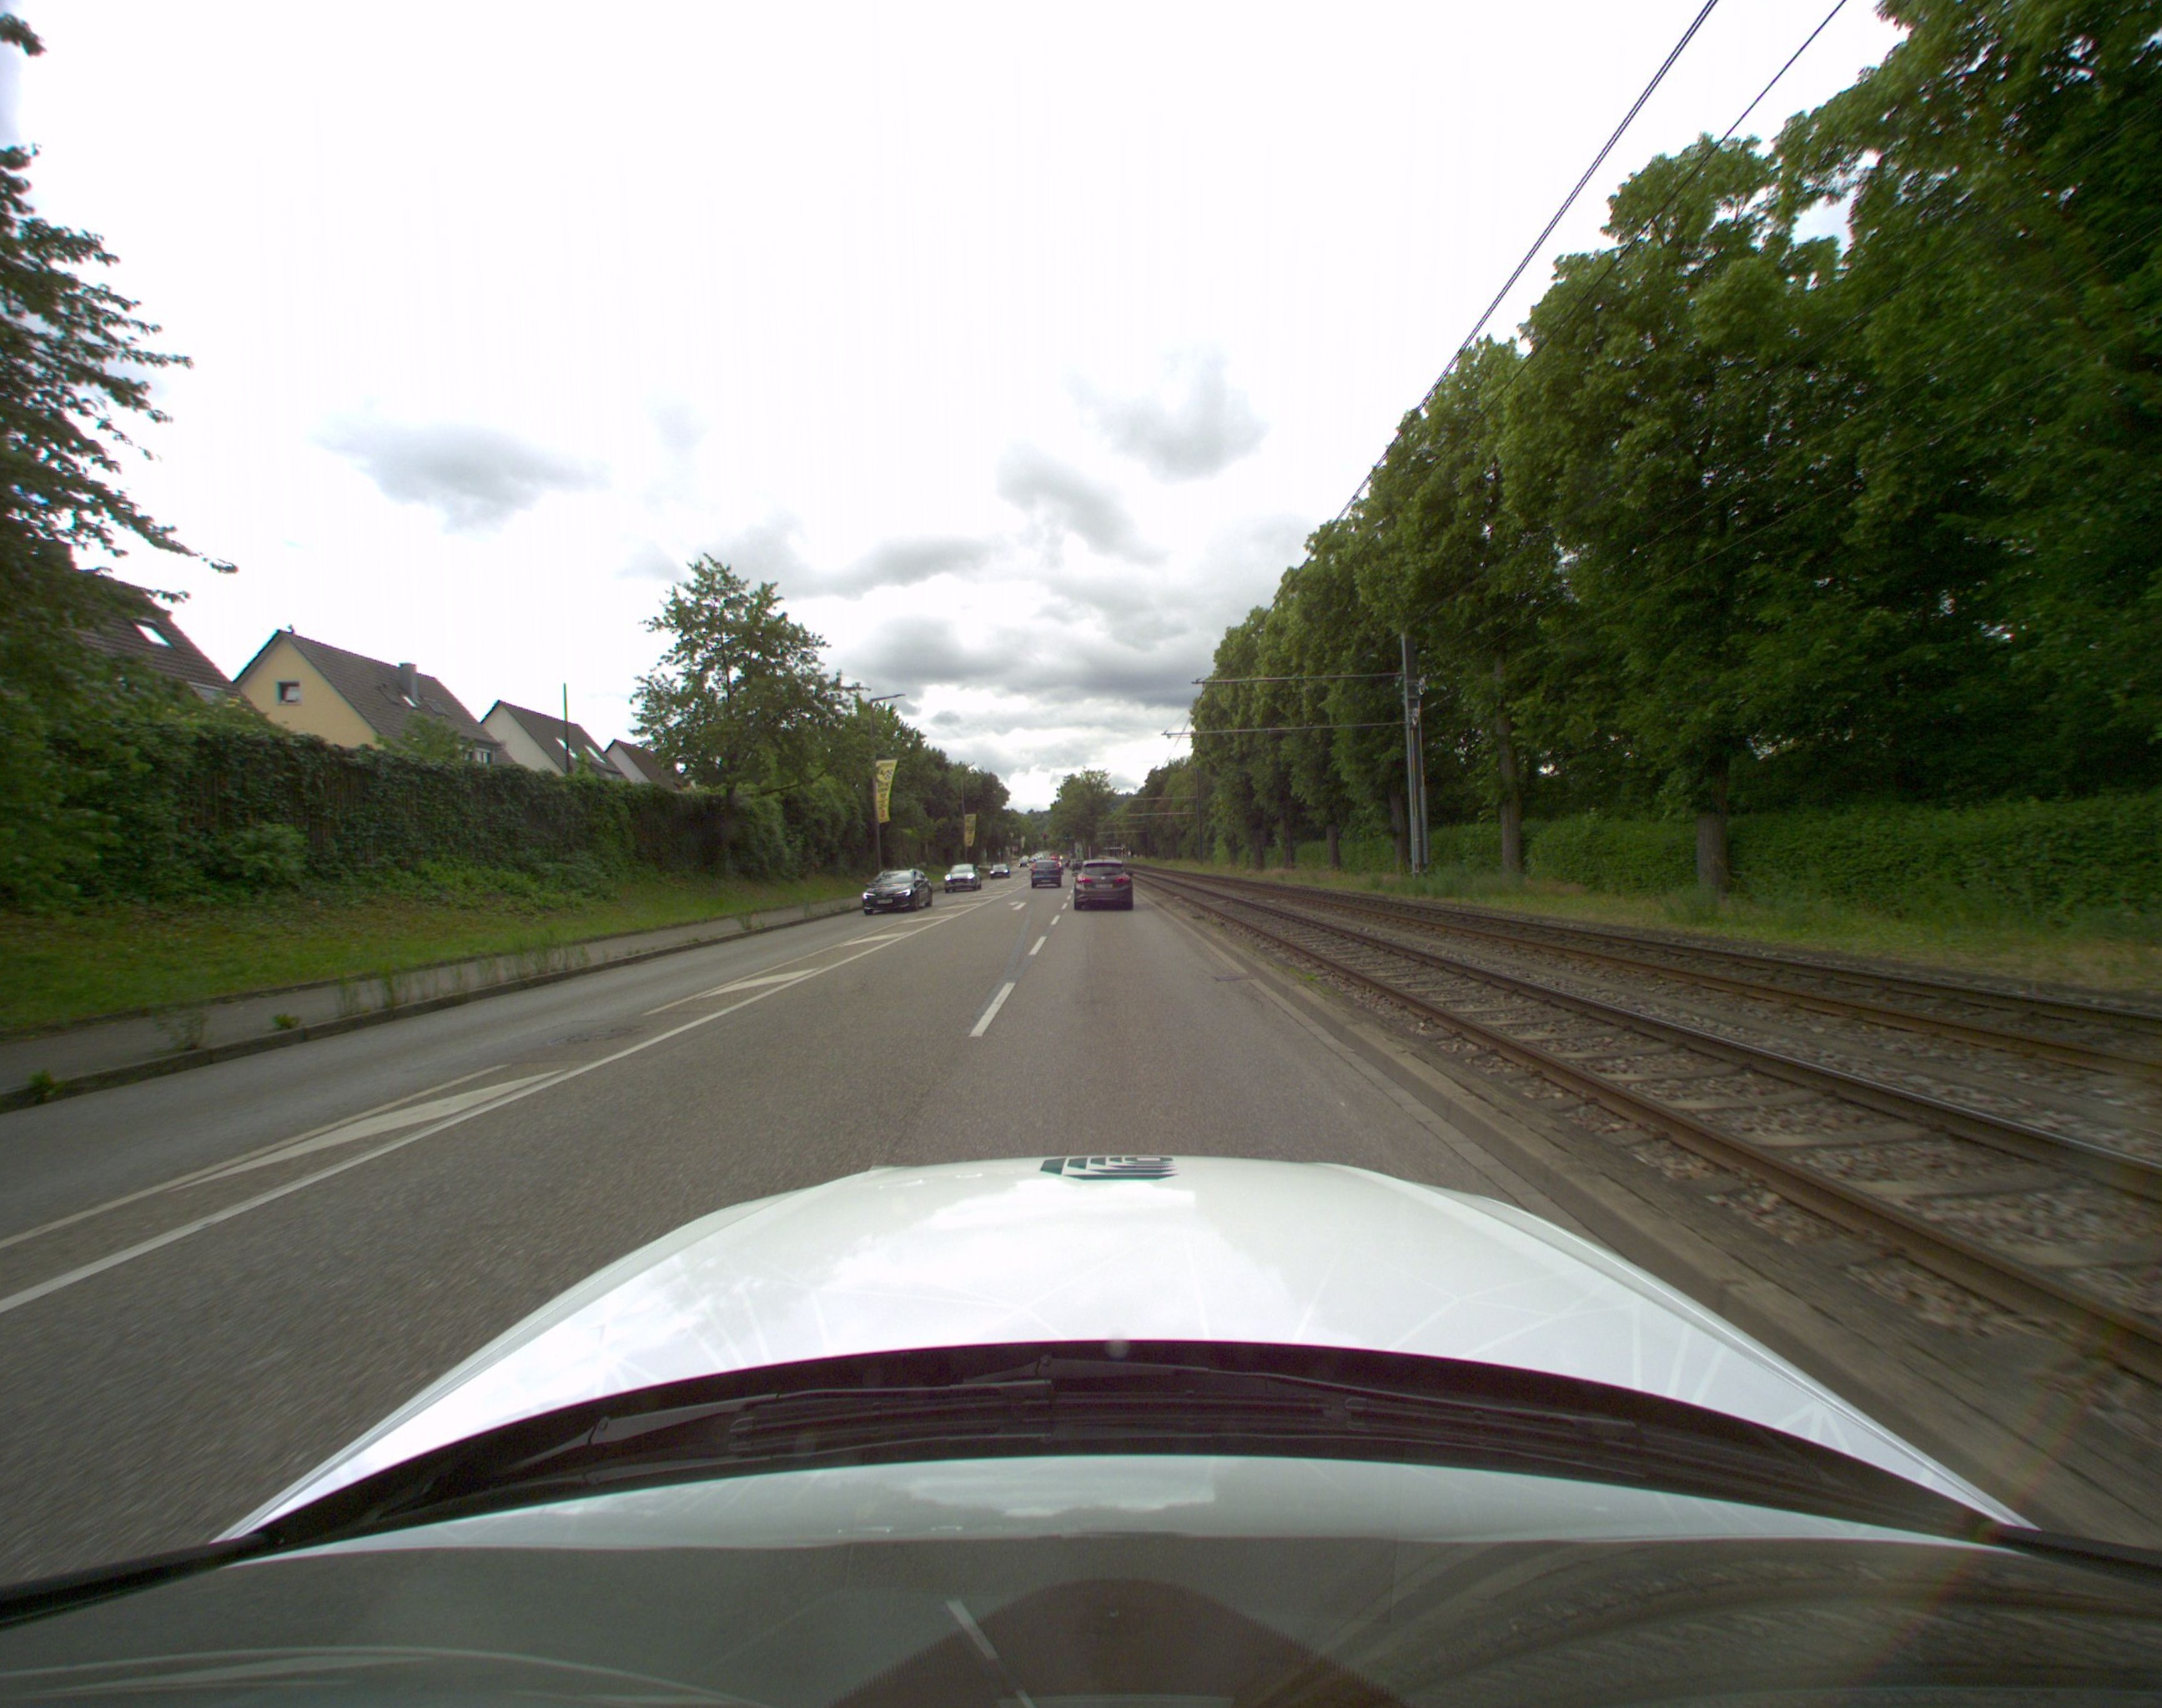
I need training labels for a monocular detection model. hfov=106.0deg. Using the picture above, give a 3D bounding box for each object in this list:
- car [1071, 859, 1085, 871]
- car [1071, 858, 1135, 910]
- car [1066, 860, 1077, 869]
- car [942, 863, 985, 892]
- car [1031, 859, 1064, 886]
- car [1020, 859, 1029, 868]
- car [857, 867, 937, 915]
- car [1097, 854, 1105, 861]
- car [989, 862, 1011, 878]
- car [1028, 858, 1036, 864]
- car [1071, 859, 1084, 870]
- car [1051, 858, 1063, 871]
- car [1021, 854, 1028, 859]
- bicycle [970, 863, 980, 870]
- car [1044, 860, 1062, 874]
[{"bbox_3d":[-0.340,1.412,103.889,1.709,1.550,4.000,-1,-1,1],"label":"car"},{"bbox_3d":[0.693,0.878,25.510,1.844,1.493,4.001,-1,0,2],"label":"car"},{"bbox_3d":[-1.638,1.880,143.199,1.709,1.550,4.000,-1,-1,1],"label":"car"},{"bbox_3d":[-6.709,1.321,46.914,1.821,1.457,4.141,-4,-1,-1],"label":"car"},{"bbox_3d":[-1.823,0.994,45.119,1.695,1.443,3.998,-1,0,-1],"label":"car"},{"bbox_3d":[-11.352,1.957,163.950,1.710,1.760,3.998,-1,-1,-1],"label":"car"},{"bbox_3d":[-6.360,1.242,28.570,1.761,1.400,4.214,-4,-1,0],"label":"car"},{"bbox_3d":[4.773,0.882,197.406,1.710,1.663,3.705,-1,-1,-1],"label":"car"},{"bbox_3d":[-7.805,1.519,79.111,1.837,1.376,4.442,-4,0,-3],"label":"car"},{"bbox_3d":[-13.530,1.908,225.580,1.709,1.550,4.000,-1,-1,1],"label":"car"},{"bbox_3d":[-0.508,1.561,122.723,1.709,1.550,4.000,-1,-1,1],"label":"car"},{"bbox_3d":[-3.481,1.504,118.595,1.711,1.864,3.997,-1,-1,-2],"label":"car"},{"bbox_3d":[-17.937,0.867,259.608,1.709,1.550,4.000,-1,-1,1],"label":"car"},{"bbox_3d":[-15.947,1.859,122.863,0.494,1.107,1.811,-2,-1,31],"label":"bicycle"},{"bbox_3d":[-2.912,1.328,85.061,1.709,1.435,4.000,-1,-1,1],"label":"car"}]
